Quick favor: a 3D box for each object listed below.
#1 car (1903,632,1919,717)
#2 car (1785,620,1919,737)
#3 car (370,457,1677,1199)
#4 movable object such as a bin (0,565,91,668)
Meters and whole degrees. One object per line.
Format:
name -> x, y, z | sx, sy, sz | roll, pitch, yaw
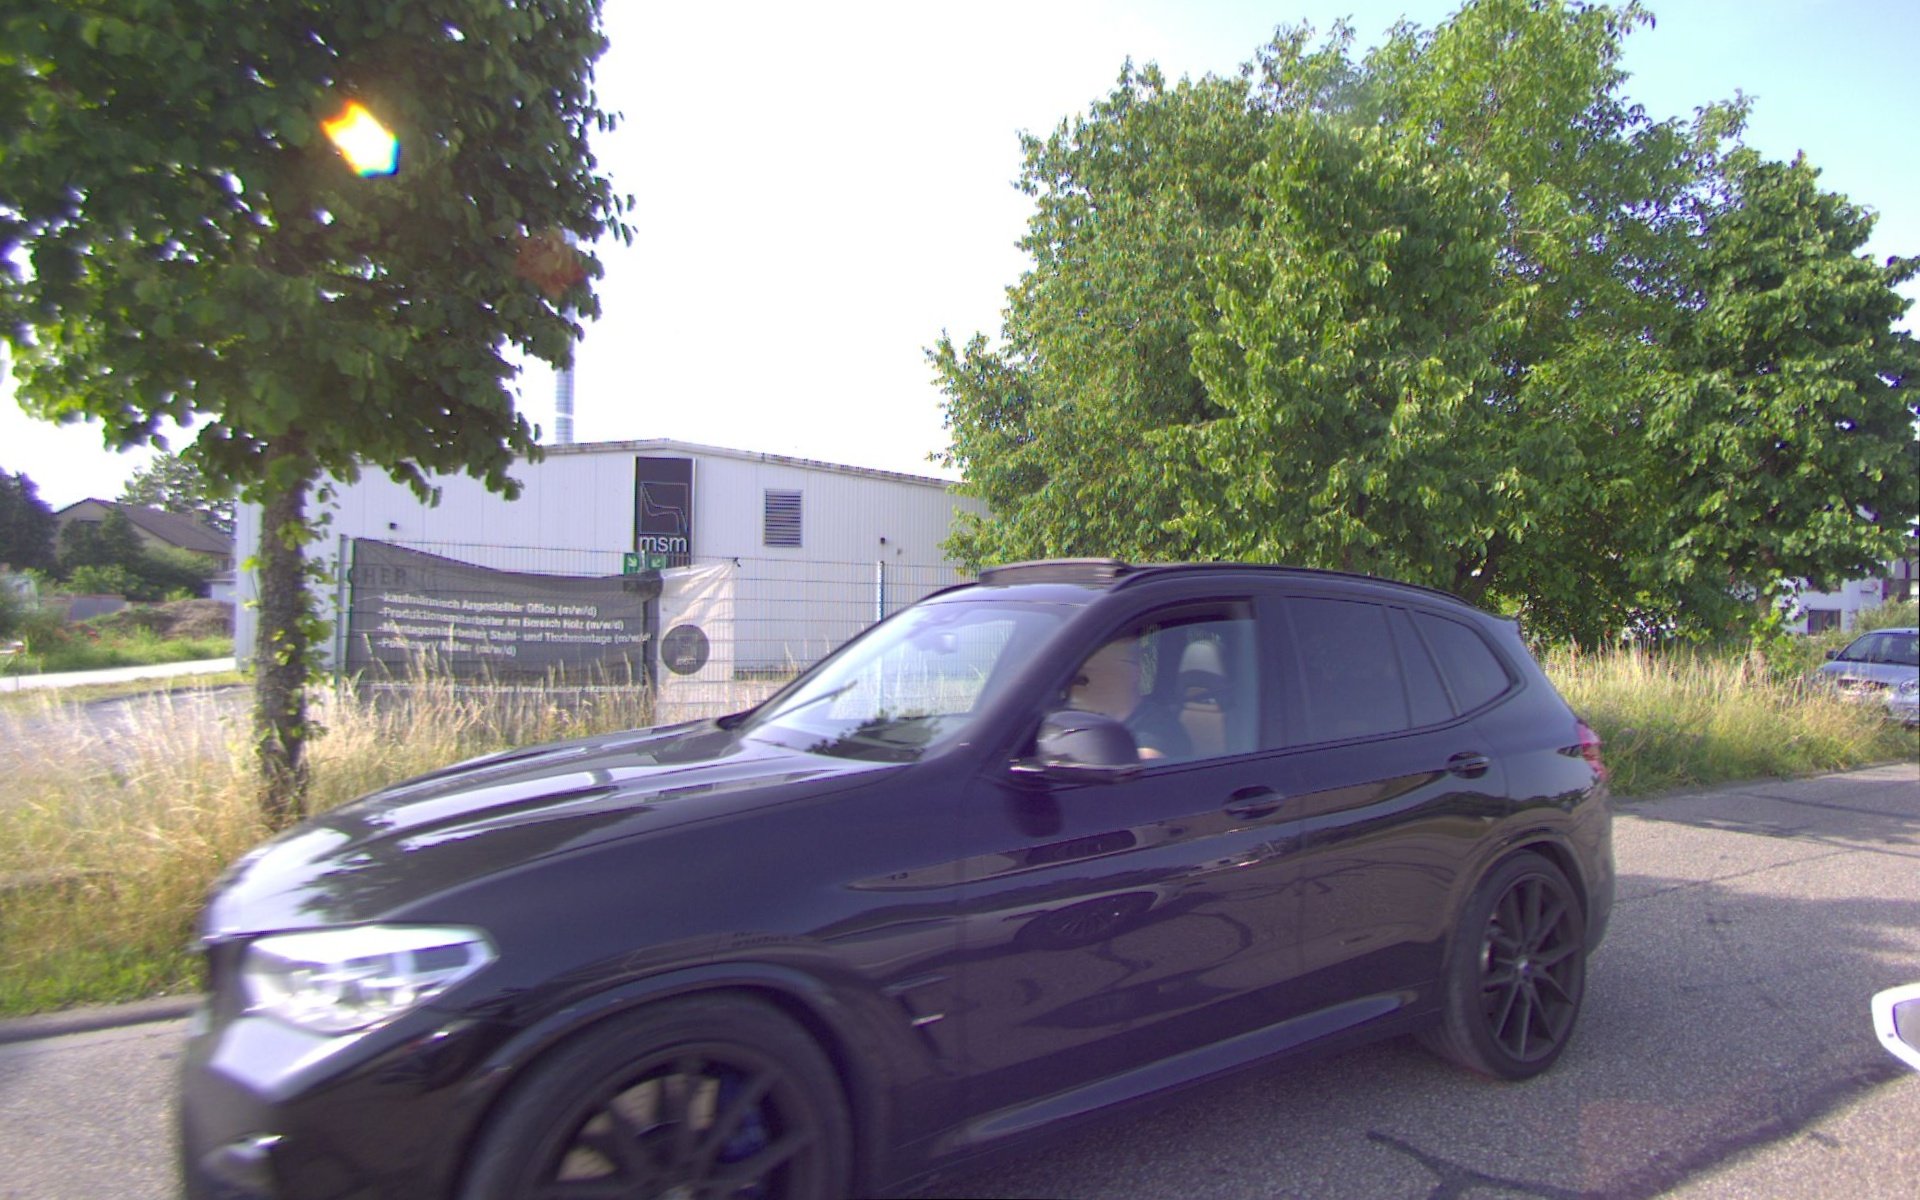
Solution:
car -> 18.518, 1.349, 17.708 | 3.913, 1.463, 1.572 | 2, 1, -28
car -> 14.541, 1.148, 15.417 | 3.640, 1.559, 1.560 | 2, 1, -27
car -> 0.405, 0.711, 3.459 | 4.178, 1.737, 1.847 | 1, -2, -31
movable object such as a bin -> -24.309, 0.404, 24.721 | 2.209, 2.489, 4.304 | 1, -1, -3
